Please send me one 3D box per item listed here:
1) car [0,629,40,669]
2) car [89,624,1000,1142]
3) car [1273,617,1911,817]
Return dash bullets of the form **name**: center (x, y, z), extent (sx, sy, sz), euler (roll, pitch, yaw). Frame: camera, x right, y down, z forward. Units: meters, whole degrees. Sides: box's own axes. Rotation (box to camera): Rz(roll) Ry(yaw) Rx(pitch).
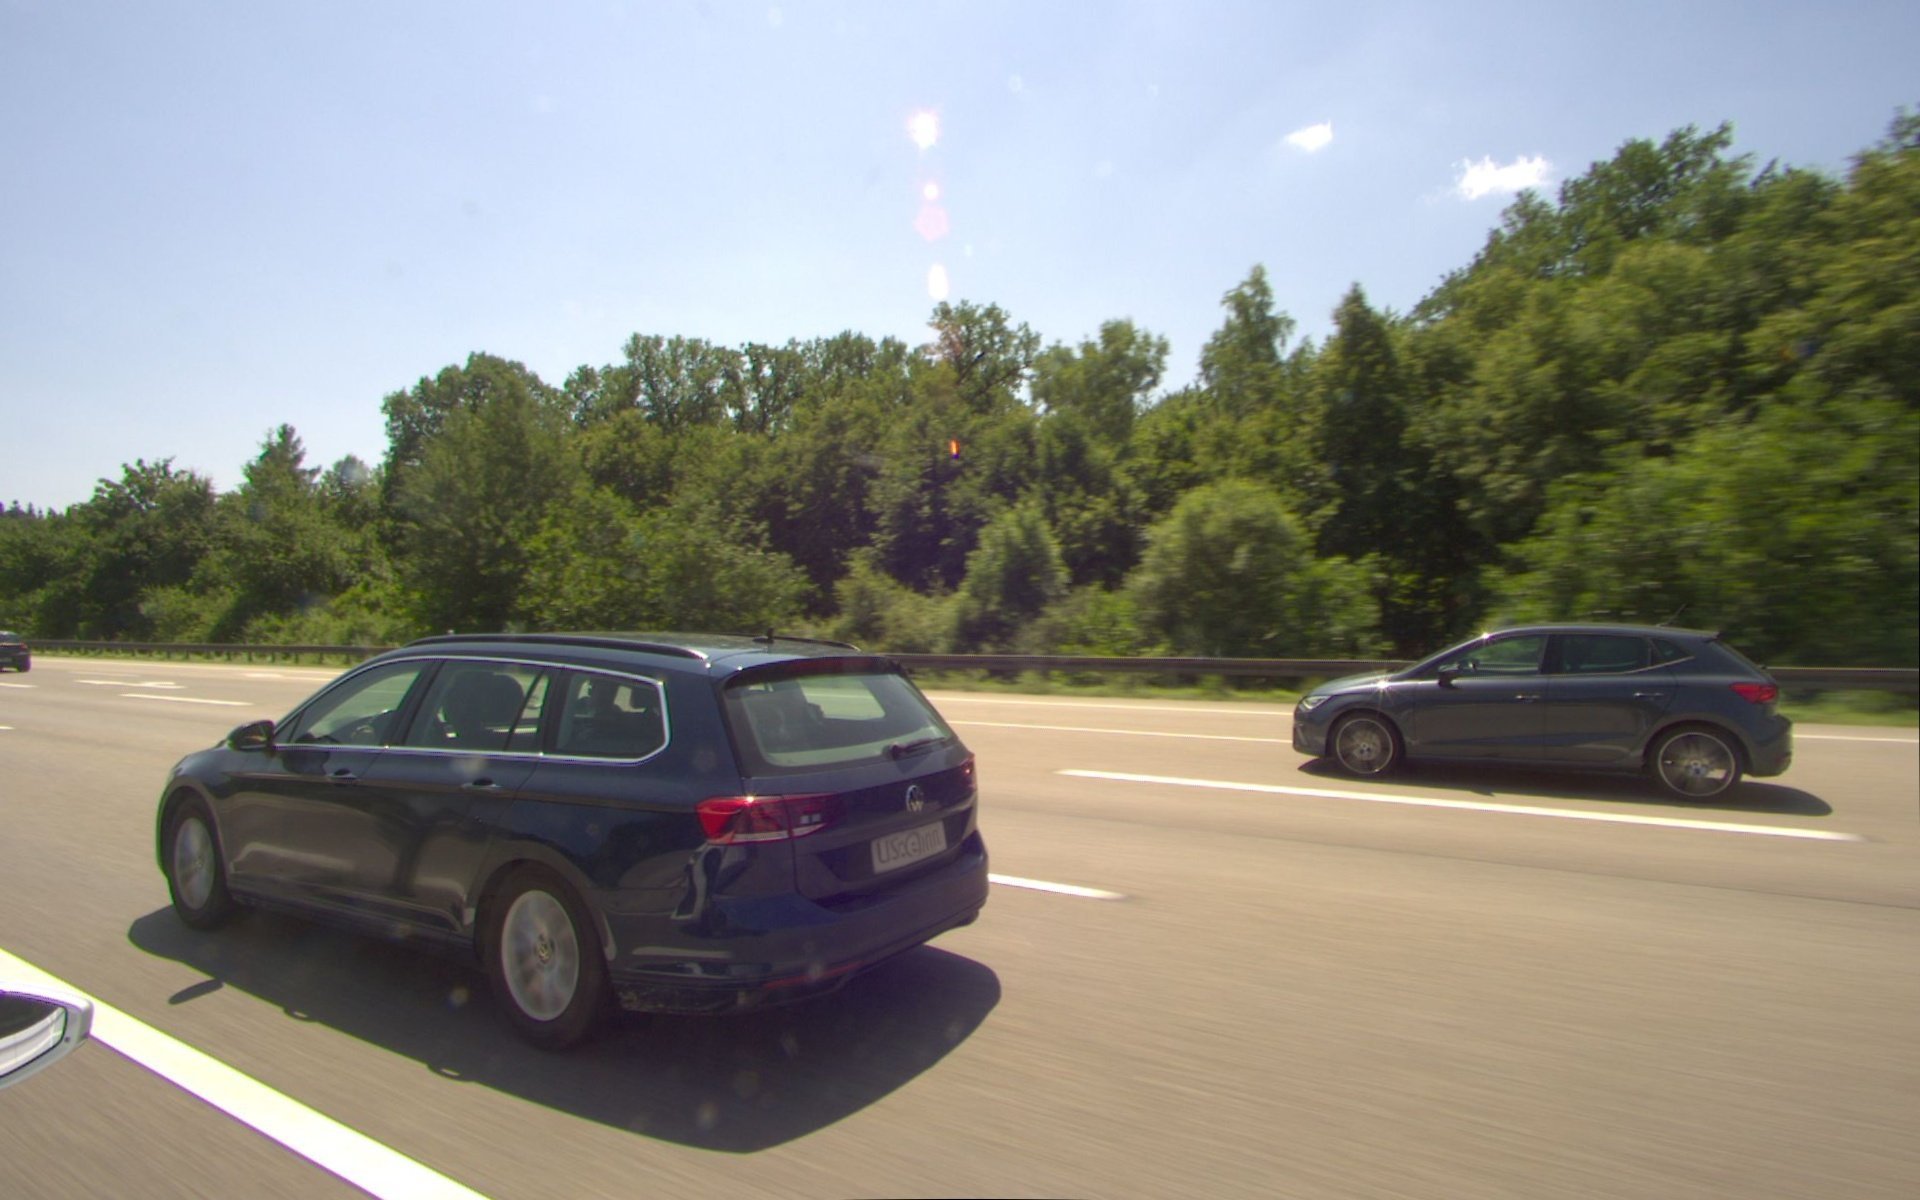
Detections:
- **car**: center (-33.476, 1.697, 34.448), extent (4.230, 1.290, 1.667), euler (-2, -1, 33)
- **car**: center (-2.333, 0.862, 4.949), extent (4.892, 1.466, 1.726), euler (-1, -1, 33)
- **car**: center (5.401, 0.924, 9.207), extent (4.569, 1.457, 1.640), euler (-1, -2, 32)
